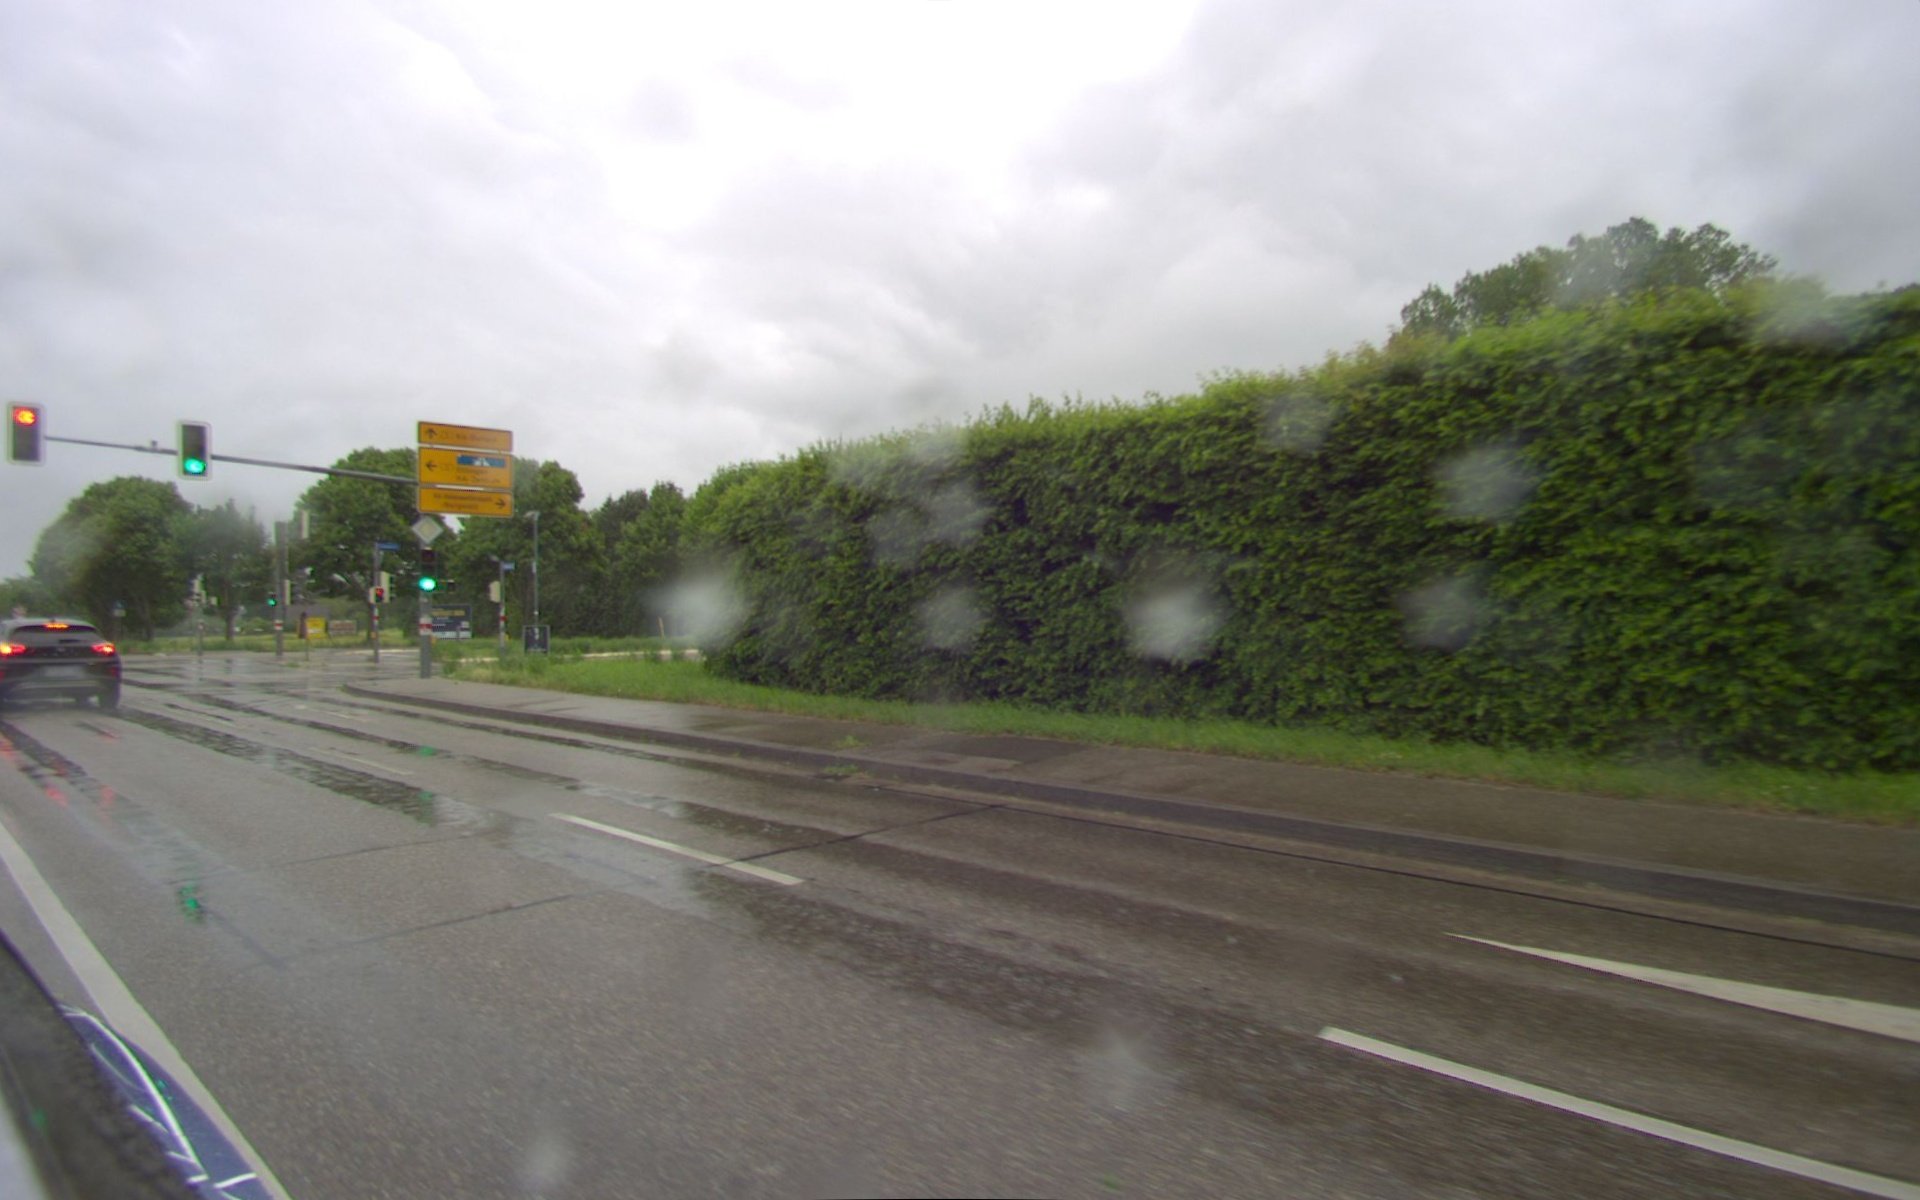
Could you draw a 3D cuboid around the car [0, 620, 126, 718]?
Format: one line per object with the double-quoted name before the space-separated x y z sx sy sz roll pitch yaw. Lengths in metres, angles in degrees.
"car" -16.180 1.119 17.741 3.874 1.549 1.744 -1 -2 40
